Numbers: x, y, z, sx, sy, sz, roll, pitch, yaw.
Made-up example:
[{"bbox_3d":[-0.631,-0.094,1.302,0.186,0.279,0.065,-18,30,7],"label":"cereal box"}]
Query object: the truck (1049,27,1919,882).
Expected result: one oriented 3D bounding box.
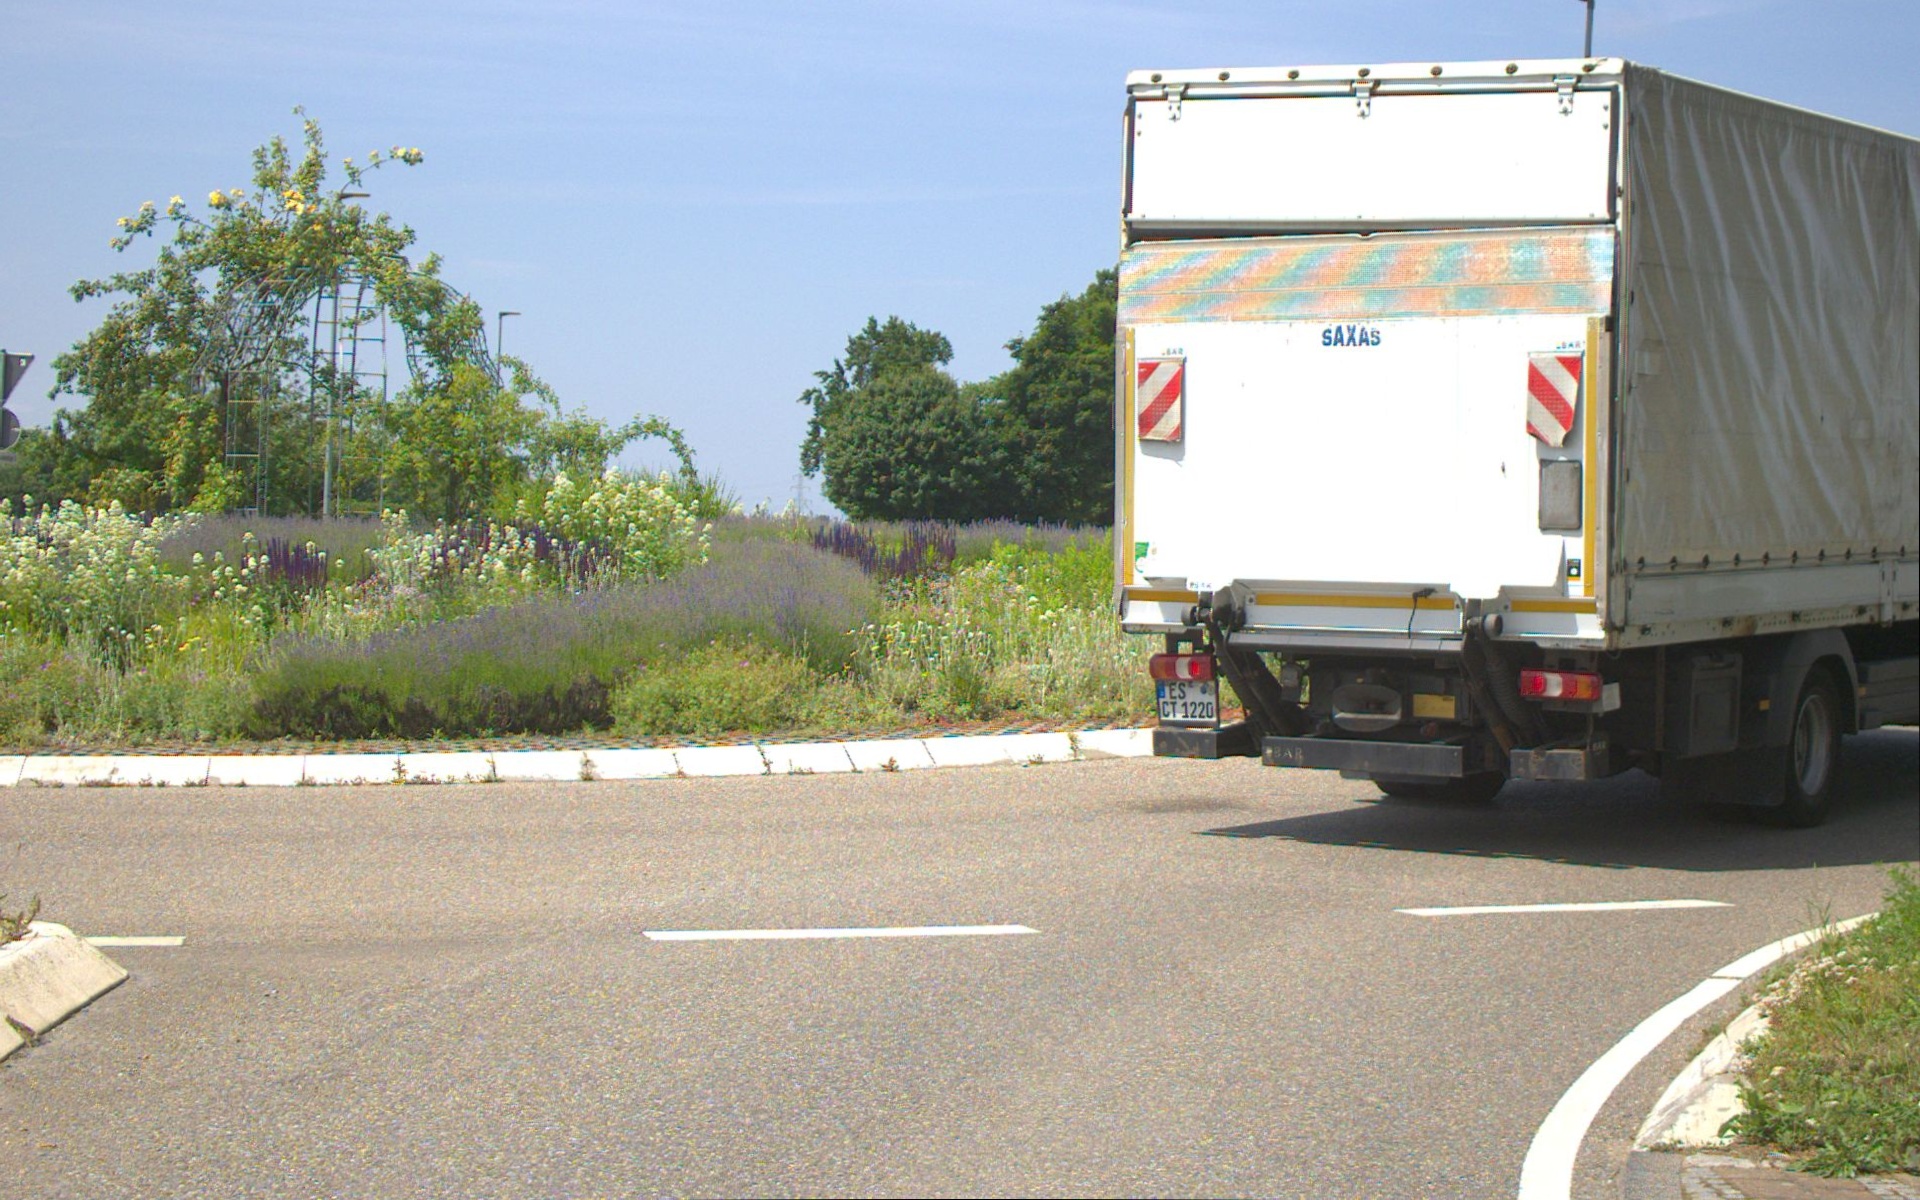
[{"bbox_3d":[4.176,-0.745,19.402,2.772,3.658,9.365,2,2,33],"label":"truck"}]
